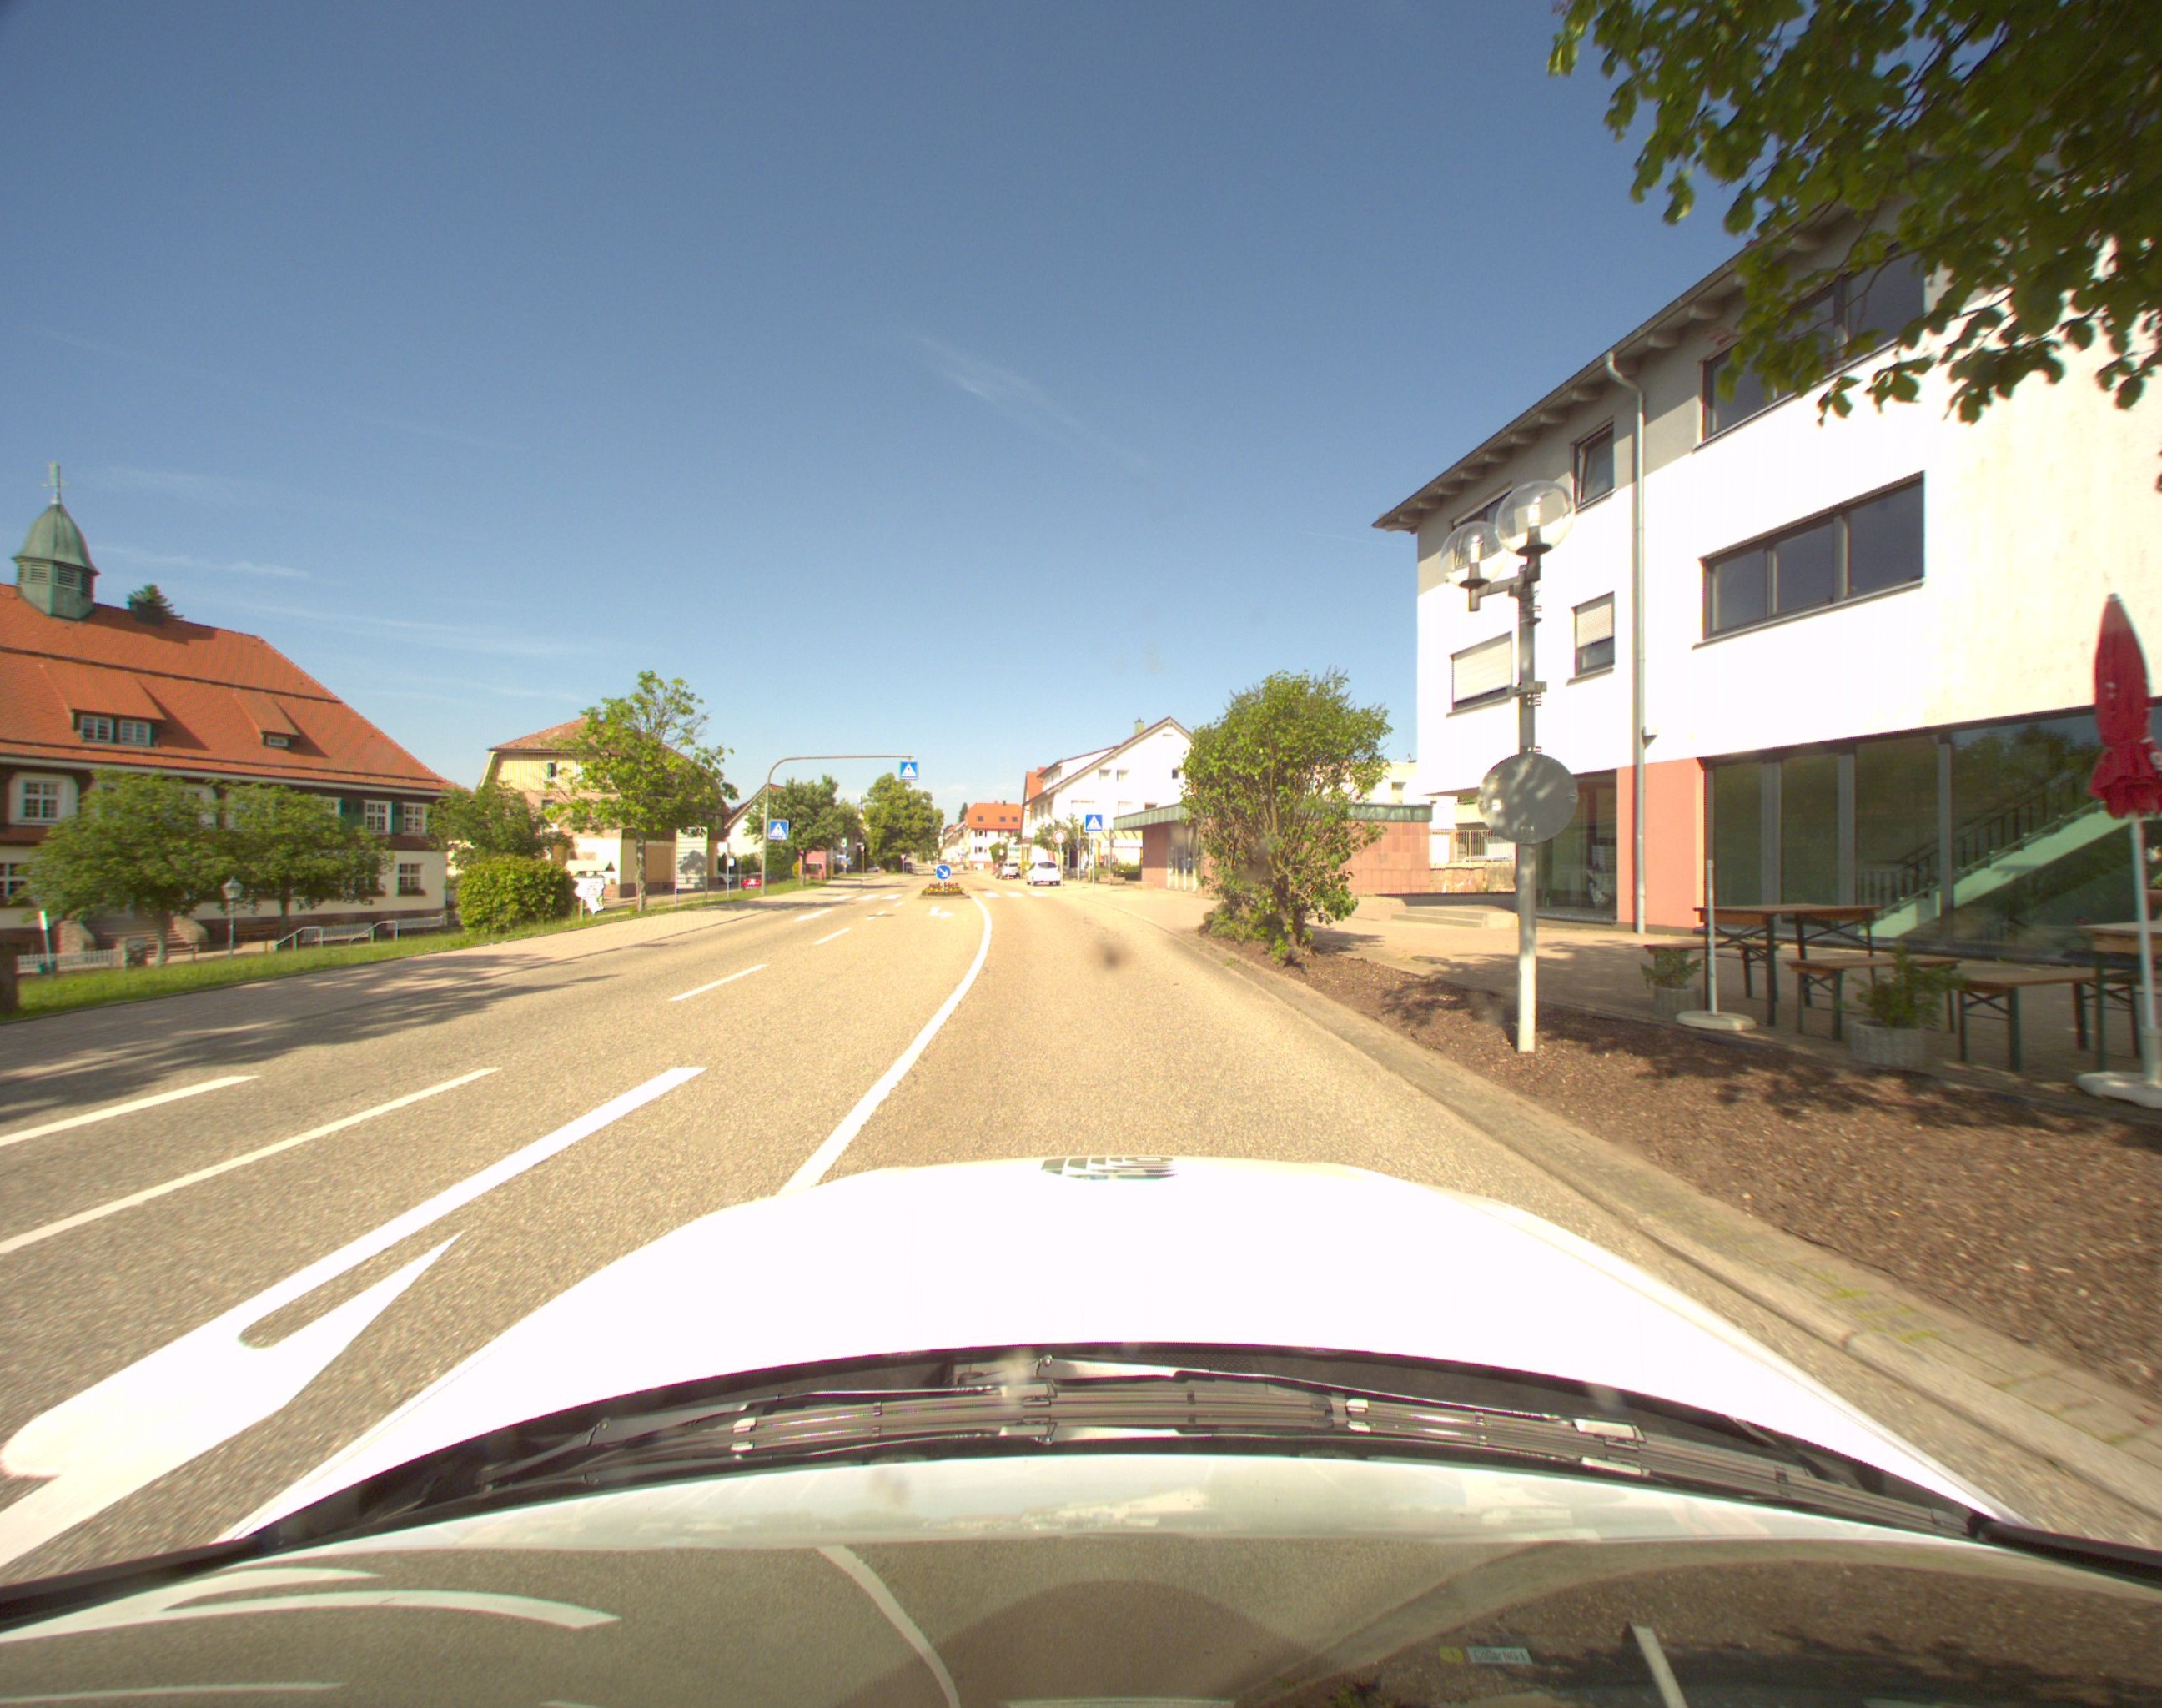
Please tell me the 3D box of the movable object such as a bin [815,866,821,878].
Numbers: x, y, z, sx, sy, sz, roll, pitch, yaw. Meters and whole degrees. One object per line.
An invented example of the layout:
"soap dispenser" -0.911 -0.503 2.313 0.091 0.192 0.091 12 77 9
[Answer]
"movable object such as a bin" -18.353 1.266 56.844 0.305 0.837 0.483 -1 -1 -14

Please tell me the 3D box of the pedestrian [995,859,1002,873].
"pedestrian" -10.848 1.569 106.848 0.798 1.784 0.977 -1 -1 -7

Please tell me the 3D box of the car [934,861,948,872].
"car" -26.819 2.337 155.592 2.497 2.013 4.287 -2 0 -11

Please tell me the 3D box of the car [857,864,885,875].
"car" -31.715 2.336 122.955 3.746 1.455 1.817 -3 -6 0

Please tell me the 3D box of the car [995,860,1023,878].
"car" -5.958 1.216 66.781 1.638 1.420 3.915 -2 0 -15

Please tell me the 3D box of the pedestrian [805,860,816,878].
"pedestrian" -19.642 1.081 59.149 0.630 1.253 0.421 -2 -1 -14

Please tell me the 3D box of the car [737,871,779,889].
"car" -26.930 2.176 68.007 1.713 1.297 4.004 -2 0 3

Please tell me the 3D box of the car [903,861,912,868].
"car" -35.953 2.171 168.597 1.673 1.533 3.521 4 -1 -11

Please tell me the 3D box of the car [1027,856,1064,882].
"car" -2.173 0.890 48.894 1.760 1.423 3.622 -2 0 -9

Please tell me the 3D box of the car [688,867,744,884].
"car" -34.091 2.019 76.112 4.290 1.512 1.798 1 -2 -2
